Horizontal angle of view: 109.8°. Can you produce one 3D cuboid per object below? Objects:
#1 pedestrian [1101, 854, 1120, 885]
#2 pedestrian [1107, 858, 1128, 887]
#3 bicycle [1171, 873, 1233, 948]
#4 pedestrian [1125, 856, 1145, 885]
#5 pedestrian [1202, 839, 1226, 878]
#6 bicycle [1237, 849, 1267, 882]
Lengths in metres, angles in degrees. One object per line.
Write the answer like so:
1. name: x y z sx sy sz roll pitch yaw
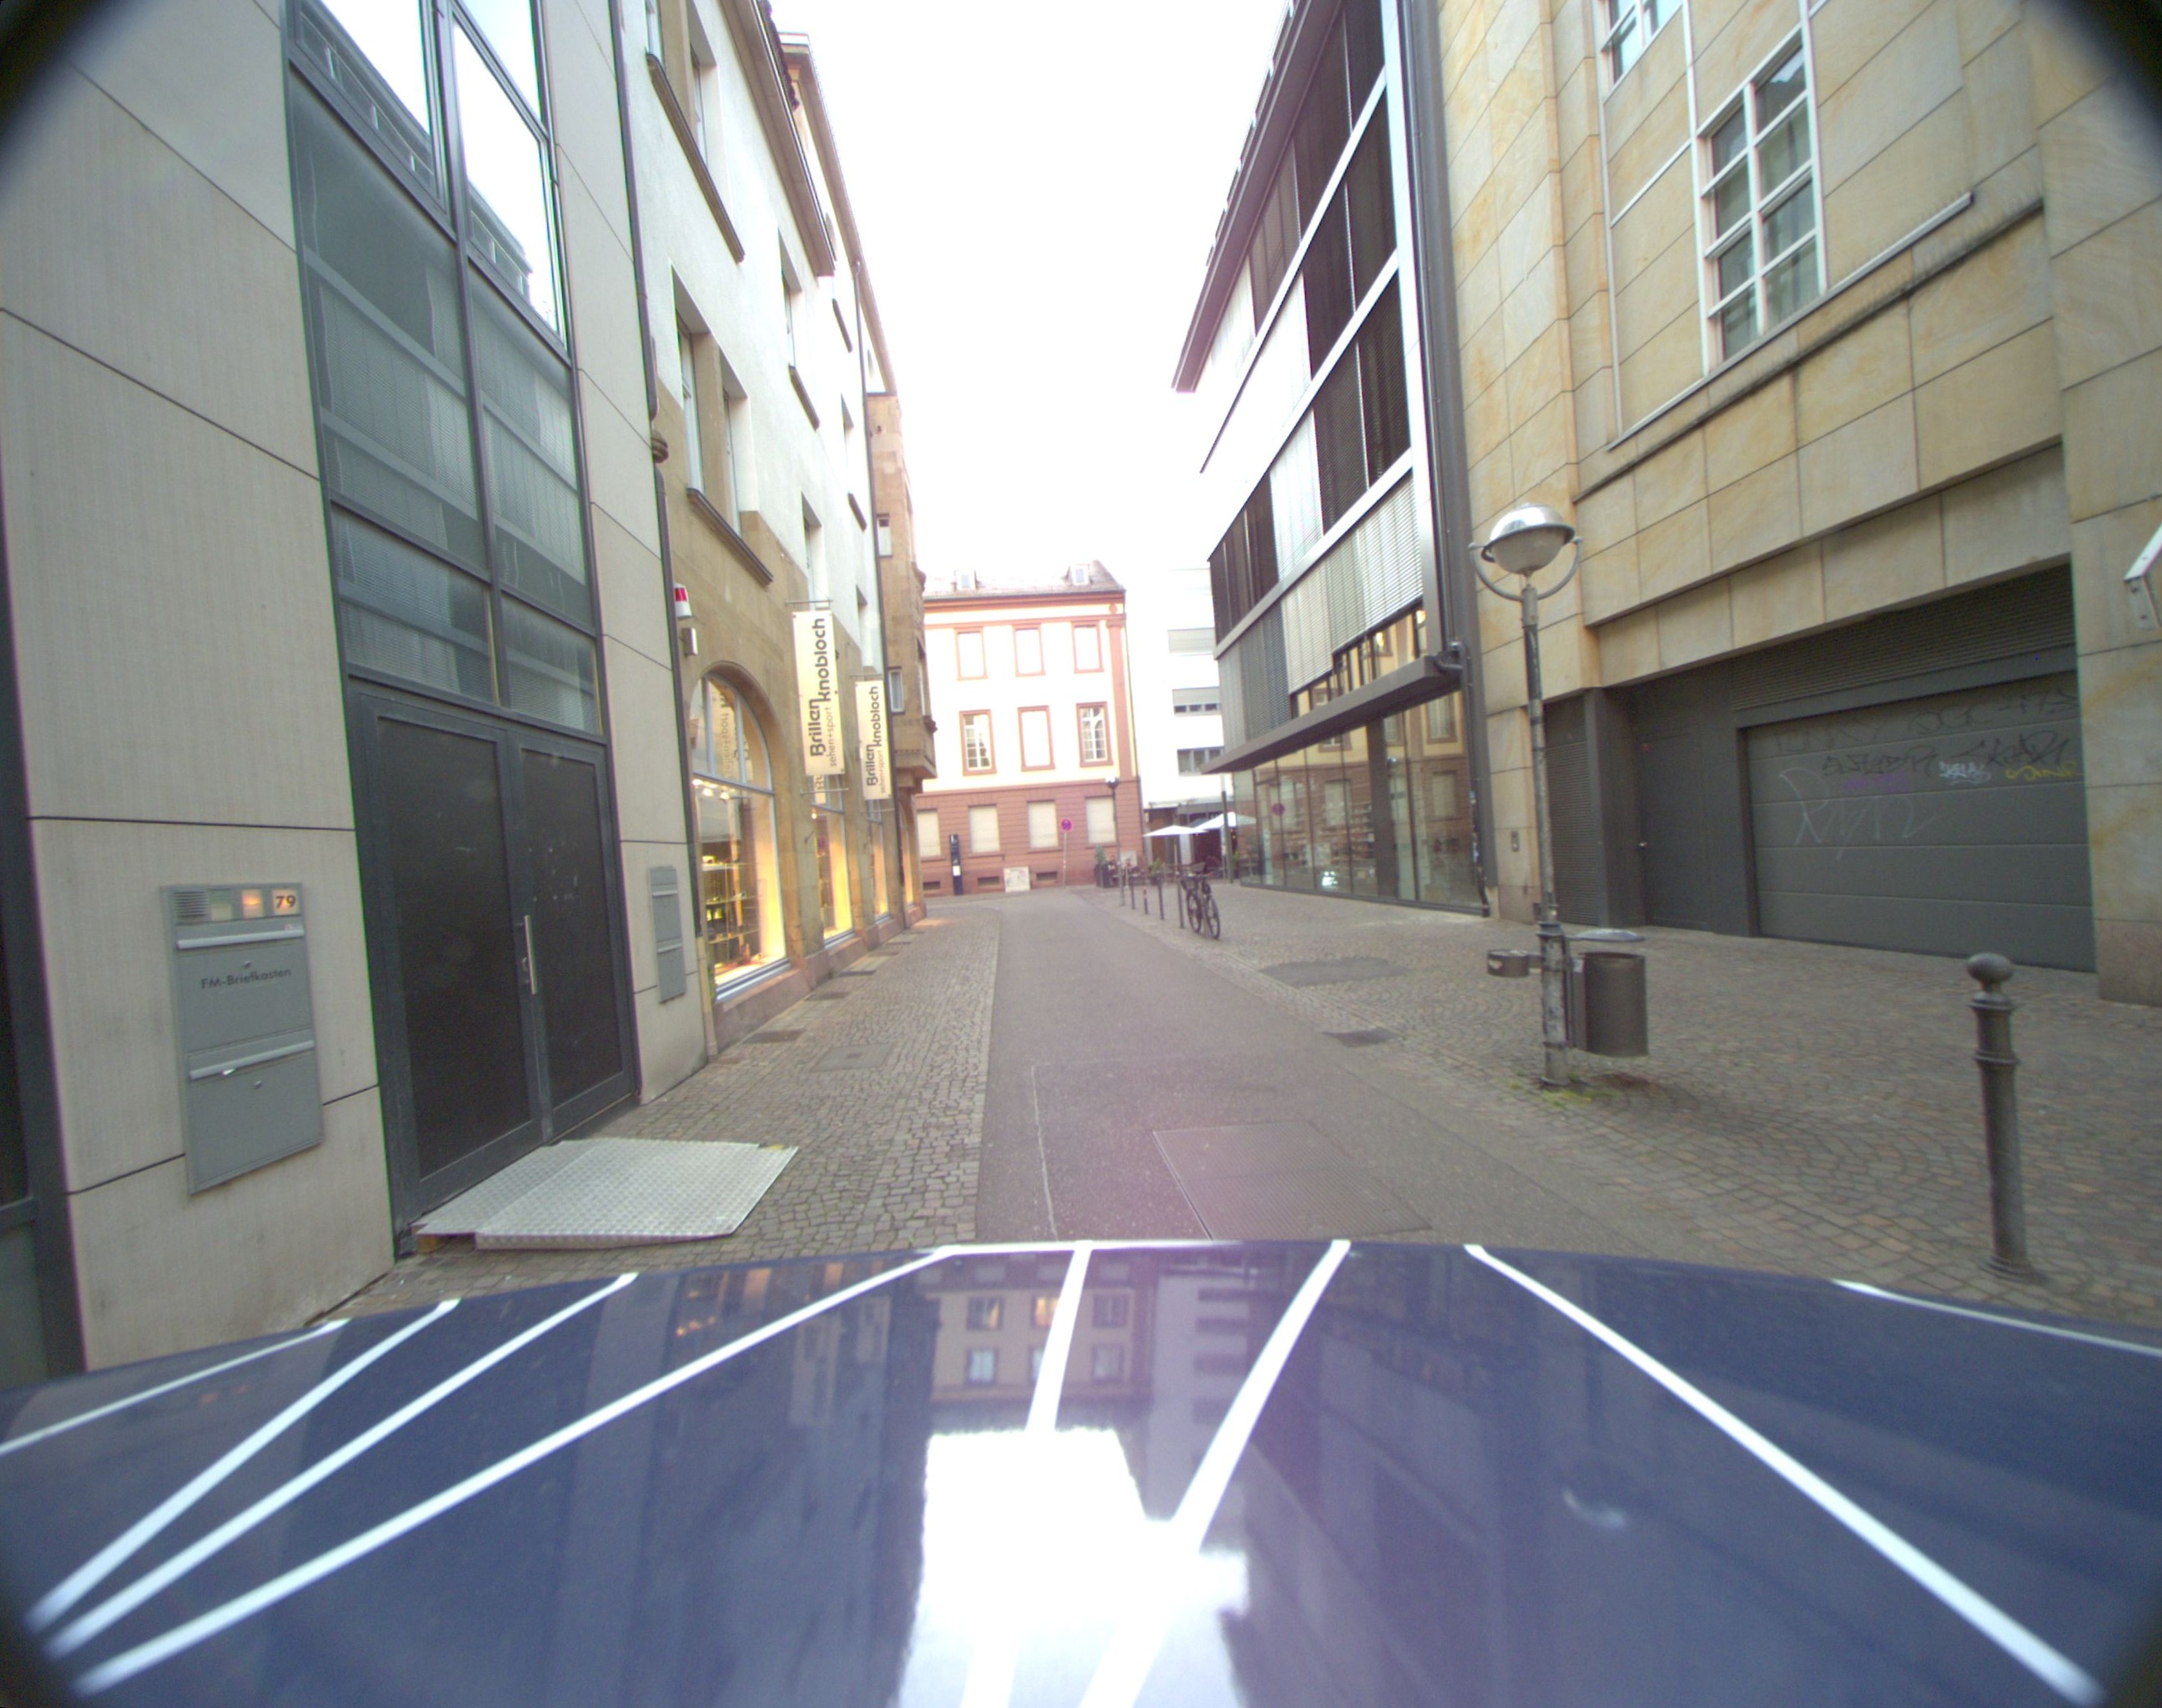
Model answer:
1. pedestrian: 1.320 0.683 34.099 0.673 1.324 0.792 -4 2 -7
2. pedestrian: 1.566 0.780 32.526 0.674 1.177 0.792 -5 2 -10
3. bicycle: 2.047 0.931 13.129 0.411 1.126 1.929 -5 1 -9
4. pedestrian: 2.374 0.724 33.665 0.673 1.177 0.792 -4 2 -7
5. pedestrian: 5.958 0.204 34.128 0.725 1.639 0.792 -5 1 -10
6. bicycle: 6.276 0.449 27.931 0.467 1.129 1.702 -5 -2 -5
